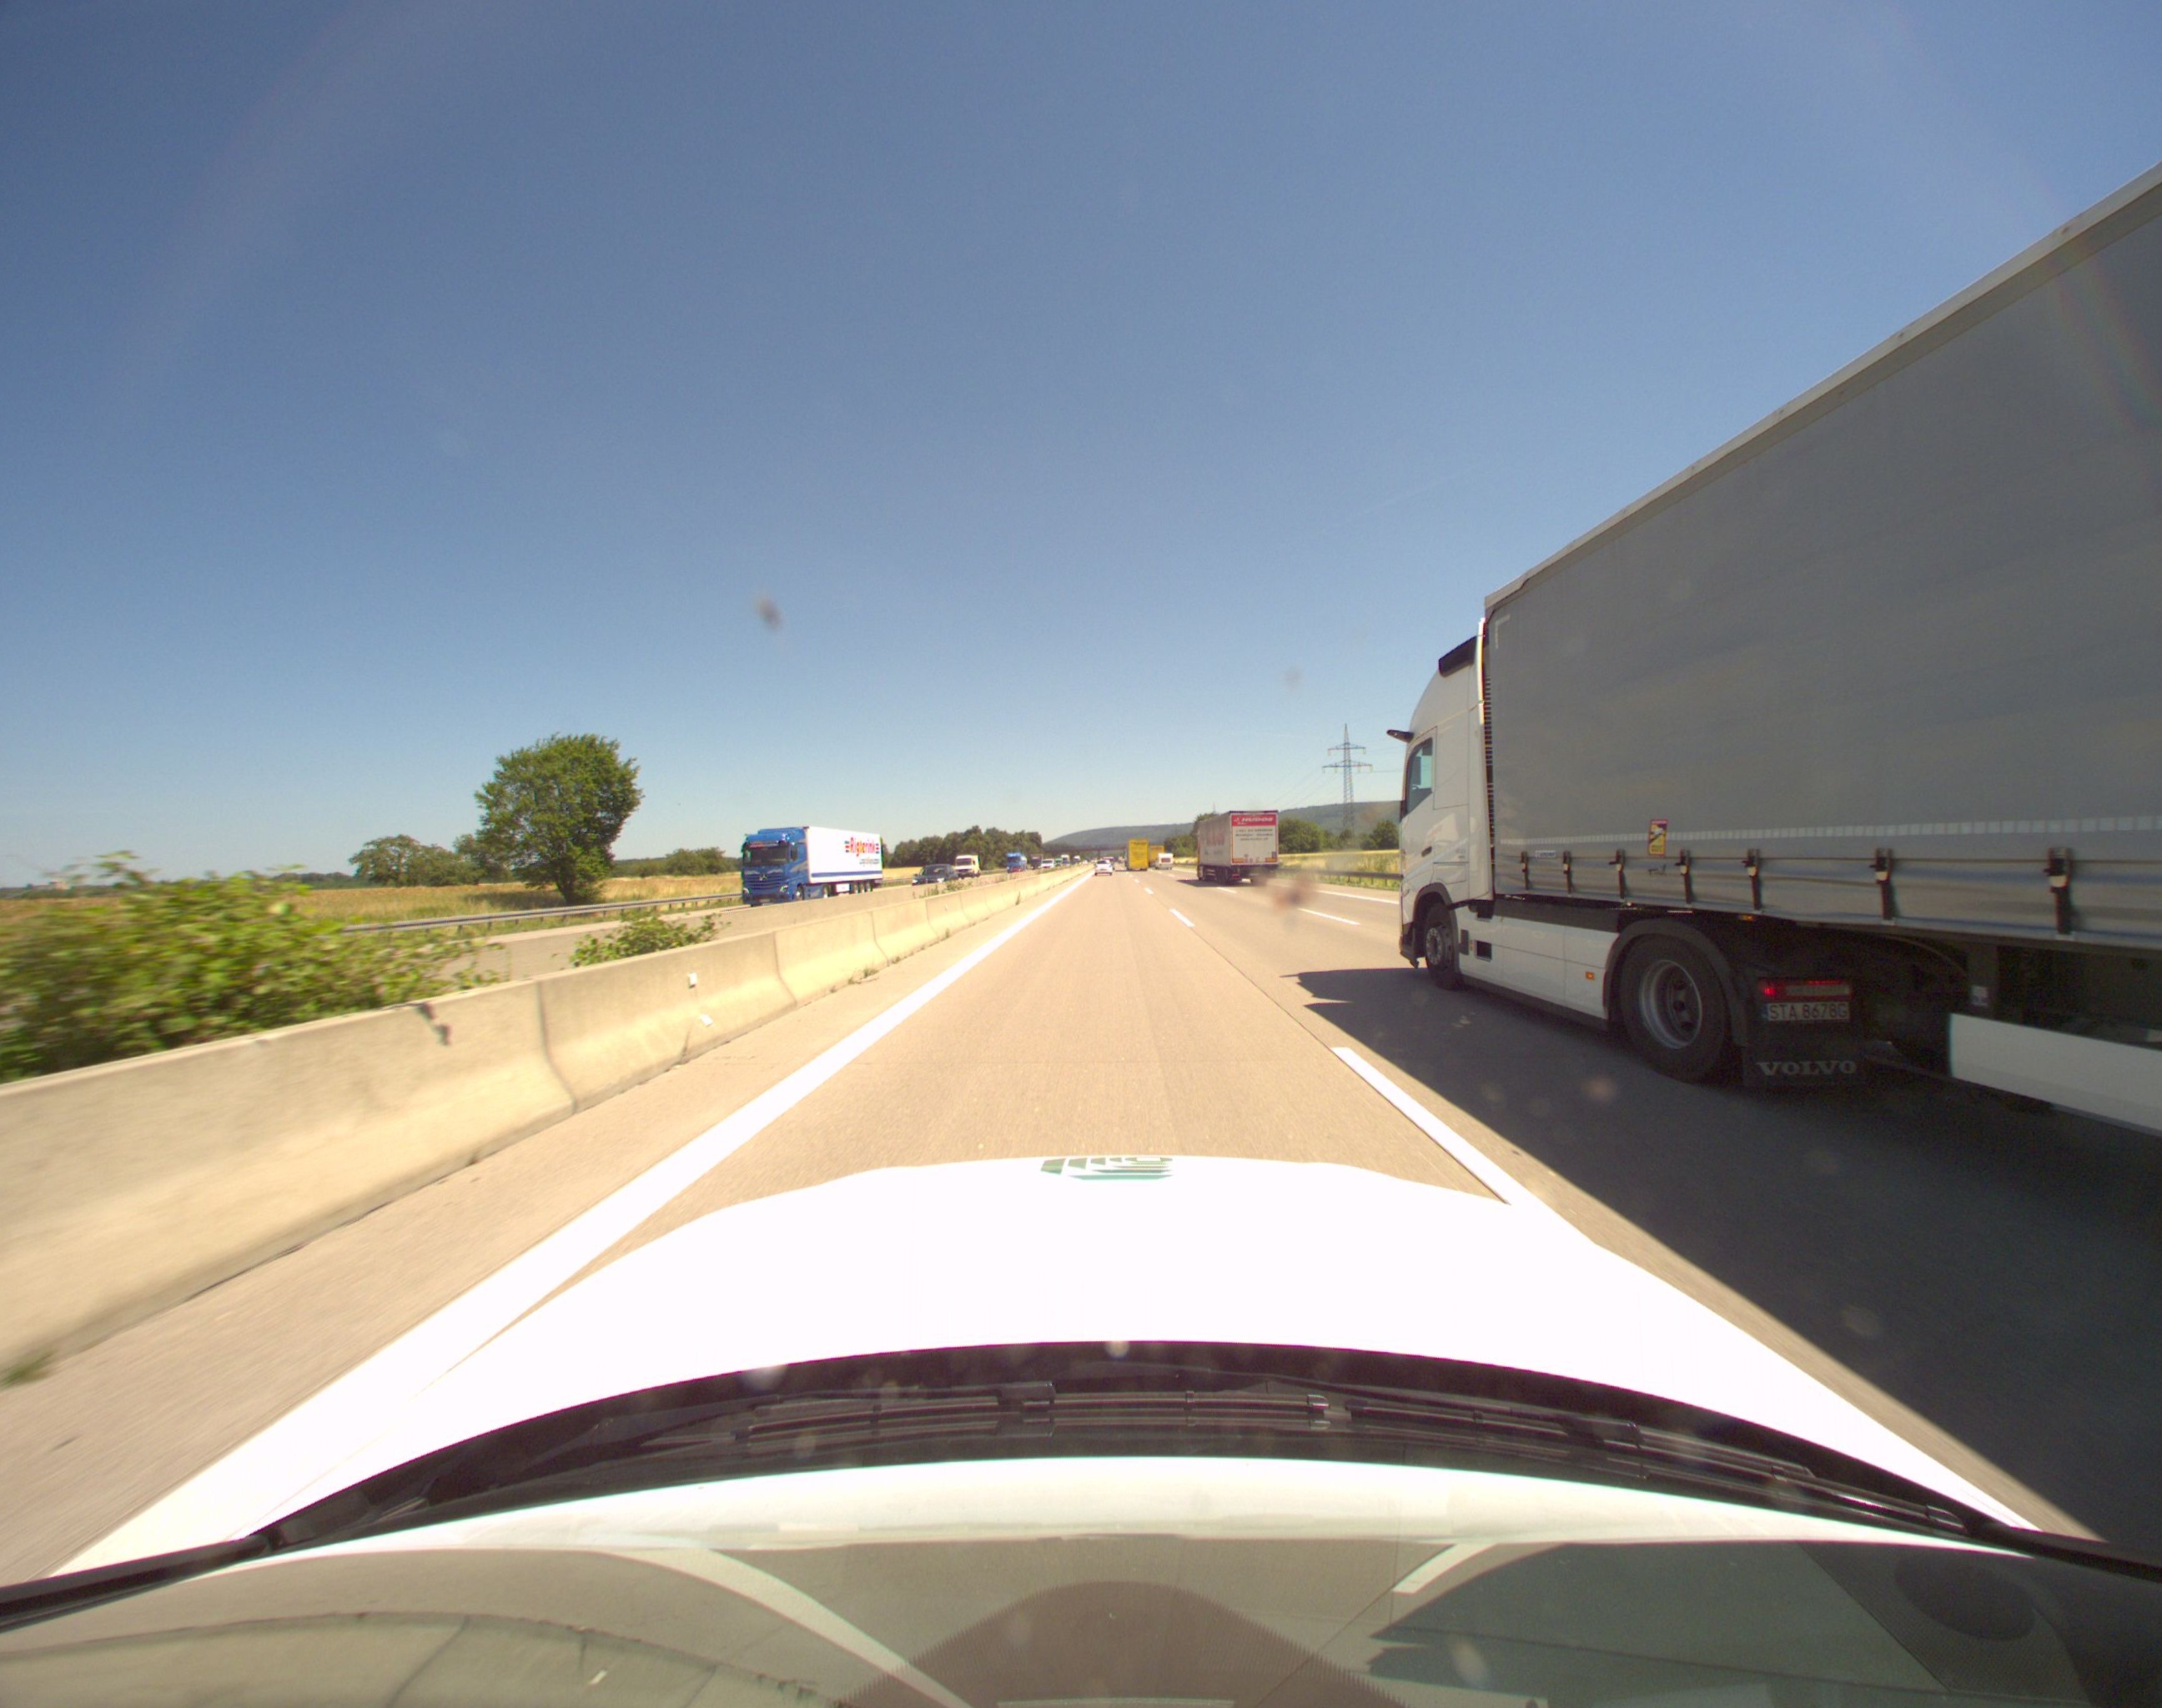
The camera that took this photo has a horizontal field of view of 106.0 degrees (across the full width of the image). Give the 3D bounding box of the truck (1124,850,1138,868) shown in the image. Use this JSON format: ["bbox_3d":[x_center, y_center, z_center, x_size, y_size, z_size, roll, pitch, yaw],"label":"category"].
[{"bbox_3d":[10.596,1.040,174.202,2.809,3.761,6.286,0,0,2],"label":"truck"}]

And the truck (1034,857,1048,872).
[{"bbox_3d":[-9.453,2.428,191.904,2.545,3.512,7.888,-3,0,2],"label":"truck"}]

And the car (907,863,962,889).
[{"bbox_3d":[-7.790,1.148,43.758,1.891,1.326,5.071,0,-1,2],"label":"car"}]

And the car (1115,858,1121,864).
[{"bbox_3d":[10.551,2.008,234.411,1.777,1.881,4.002,0,0,2],"label":"car"}]

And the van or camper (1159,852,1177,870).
[{"bbox_3d":[12.628,0.964,118.611,2.216,2.531,5.433,0,0,2],"label":"van or camper"}]

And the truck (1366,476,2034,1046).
[{"bbox_3d":[5.364,-0.654,8.561,2.973,4.062,5.480,0,0,2],"label":"truck"}]

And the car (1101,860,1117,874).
[{"bbox_3d":[4.188,1.974,120.515,2.245,2.014,4.301,0,0,3],"label":"car"}]

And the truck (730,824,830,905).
[{"bbox_3d":[-15.329,0.505,41.972,2.886,3.864,5.687,0,0,2],"label":"truck"}]

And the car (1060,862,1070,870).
[{"bbox_3d":[-3.189,2.330,159.400,1.773,1.348,4.453,1,0,1],"label":"car"}]

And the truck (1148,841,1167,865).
[{"bbox_3d":[13.825,-0.129,148.058,2.987,4.314,9.689,0,0,2],"label":"truck"}]

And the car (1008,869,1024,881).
[{"bbox_3d":[-8.949,2.852,112.001,1.682,1.459,4.489,-1,0,2],"label":"car"}]

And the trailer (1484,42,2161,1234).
[{"bbox_3d":[5.148,-0.749,0.485,3.007,4.061,14.208,0,0,1],"label":"trailer"}]

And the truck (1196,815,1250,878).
[{"bbox_3d":[9.617,-0.474,55.728,2.894,4.101,6.275,0,0,2],"label":"truck"}]

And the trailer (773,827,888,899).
[{"bbox_3d":[-15.057,0.522,50.342,2.897,3.909,12.515,0,0,2],"label":"trailer"}]

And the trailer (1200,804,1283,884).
[{"bbox_3d":[9.298,-0.498,48.943,2.862,4.101,13.521,0,0,3],"label":"trailer"}]

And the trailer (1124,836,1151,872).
[{"bbox_3d":[7.537,-0.019,109.748,3.203,4.564,13.464,0,0,2],"label":"trailer"}]

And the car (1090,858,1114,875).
[{"bbox_3d":[2.069,1.193,79.321,2.098,1.536,4.126,0,0,3],"label":"car"}]

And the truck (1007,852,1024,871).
[{"bbox_3d":[-11.762,1.291,145.892,2.475,3.309,5.265,0,0,1],"label":"truck"}]

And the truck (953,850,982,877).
[{"bbox_3d":[-13.583,1.143,97.974,2.313,3.084,6.981,0,0,2],"label":"truck"}]

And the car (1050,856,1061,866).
[{"bbox_3d":[-6.365,1.748,201.711,2.141,2.551,6.466,-2,0,2],"label":"car"}]

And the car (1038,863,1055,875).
[{"bbox_3d":[-5.245,2.262,123.429,2.130,1.679,5.647,-1,0,2],"label":"car"}]
